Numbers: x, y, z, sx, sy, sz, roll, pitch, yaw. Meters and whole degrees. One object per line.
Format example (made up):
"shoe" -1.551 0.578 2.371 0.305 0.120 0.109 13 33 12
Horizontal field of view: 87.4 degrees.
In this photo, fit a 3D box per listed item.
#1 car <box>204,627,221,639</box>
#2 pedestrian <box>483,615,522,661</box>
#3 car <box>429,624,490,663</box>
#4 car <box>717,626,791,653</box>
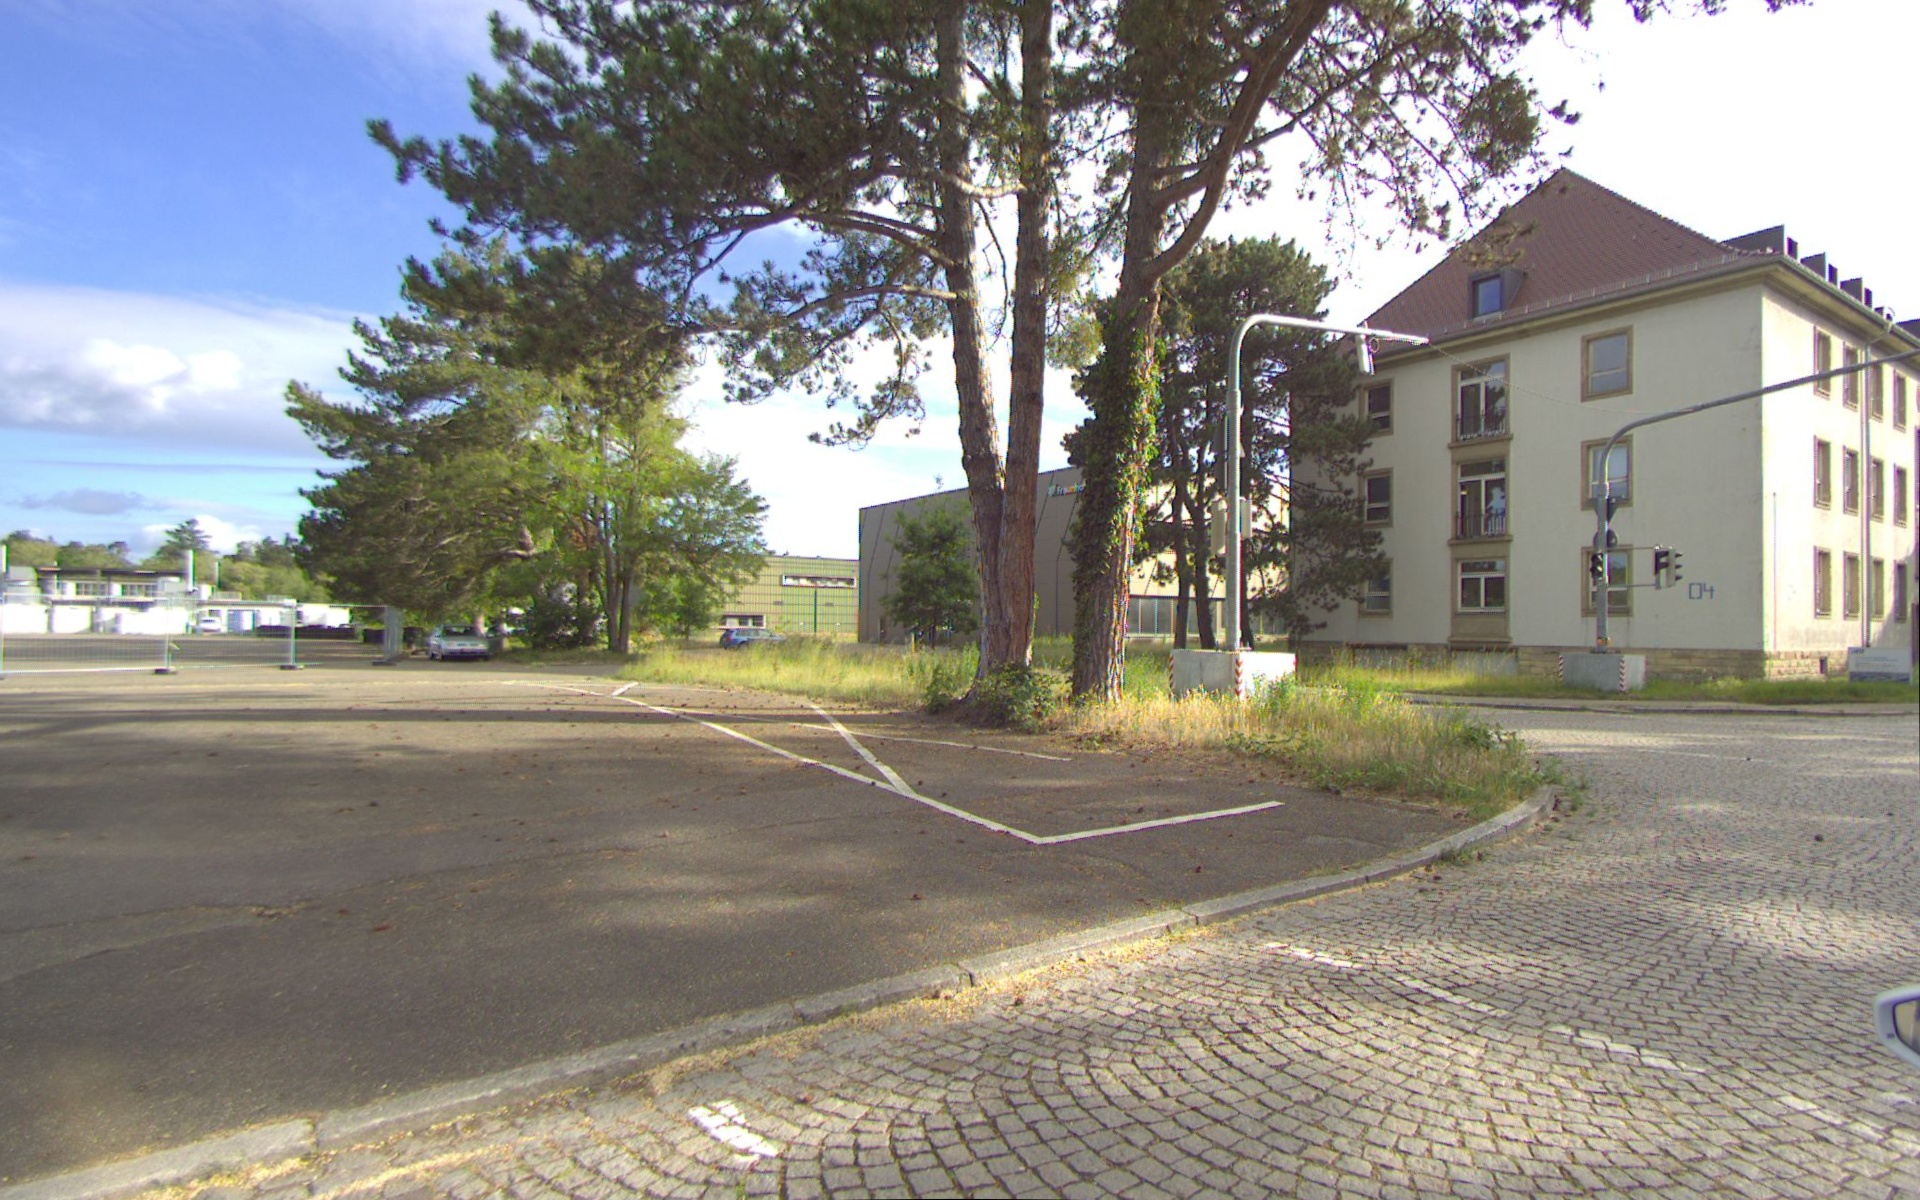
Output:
"car" -109.002 4.789 146.526 1.840 1.694 4.154 2 -2 -38
"pedestrian" -18.173 1.502 39.905 0.862 1.767 1.095 1 -2 25
"car" -19.482 1.668 39.000 1.648 1.400 3.963 2 -2 -33
"car" -12.599 2.449 61.529 4.119 1.580 1.790 3 -2 -38
